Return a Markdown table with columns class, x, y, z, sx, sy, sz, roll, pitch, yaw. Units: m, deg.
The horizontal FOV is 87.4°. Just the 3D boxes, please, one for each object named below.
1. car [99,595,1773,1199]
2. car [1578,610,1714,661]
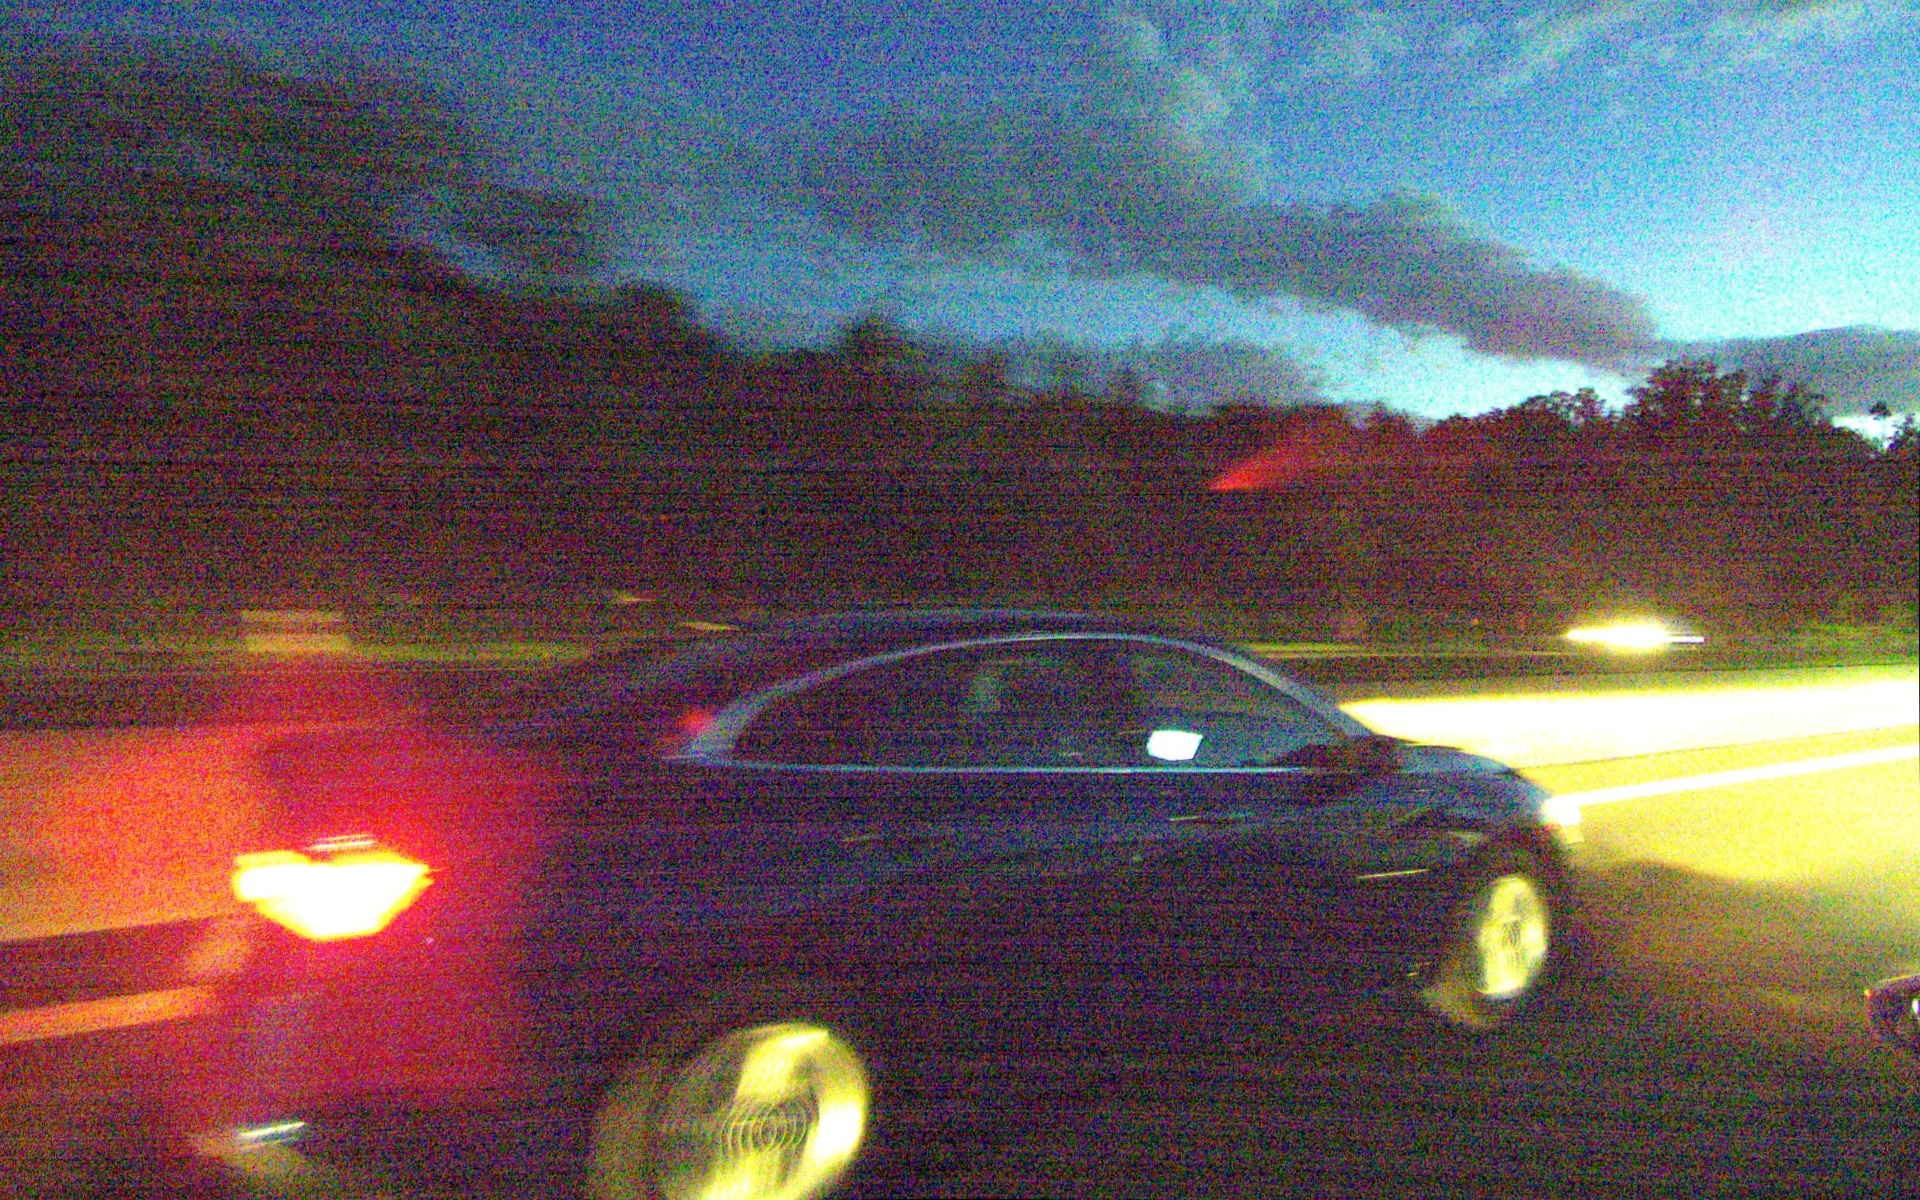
| class | x | y | z | sx | sy | sz | roll | pitch | yaw |
| --- | --- | --- | --- | --- | --- | --- | --- | --- | --- |
| car | 0.602 | 0.771 | 3.832 | 5.582 | 1.539 | 1.984 | 0 | 1 | -30 |
| car | 24.751 | 1.269 | 36.220 | 4.832 | 1.690 | 2.233 | 1 | 0 | -31 |
